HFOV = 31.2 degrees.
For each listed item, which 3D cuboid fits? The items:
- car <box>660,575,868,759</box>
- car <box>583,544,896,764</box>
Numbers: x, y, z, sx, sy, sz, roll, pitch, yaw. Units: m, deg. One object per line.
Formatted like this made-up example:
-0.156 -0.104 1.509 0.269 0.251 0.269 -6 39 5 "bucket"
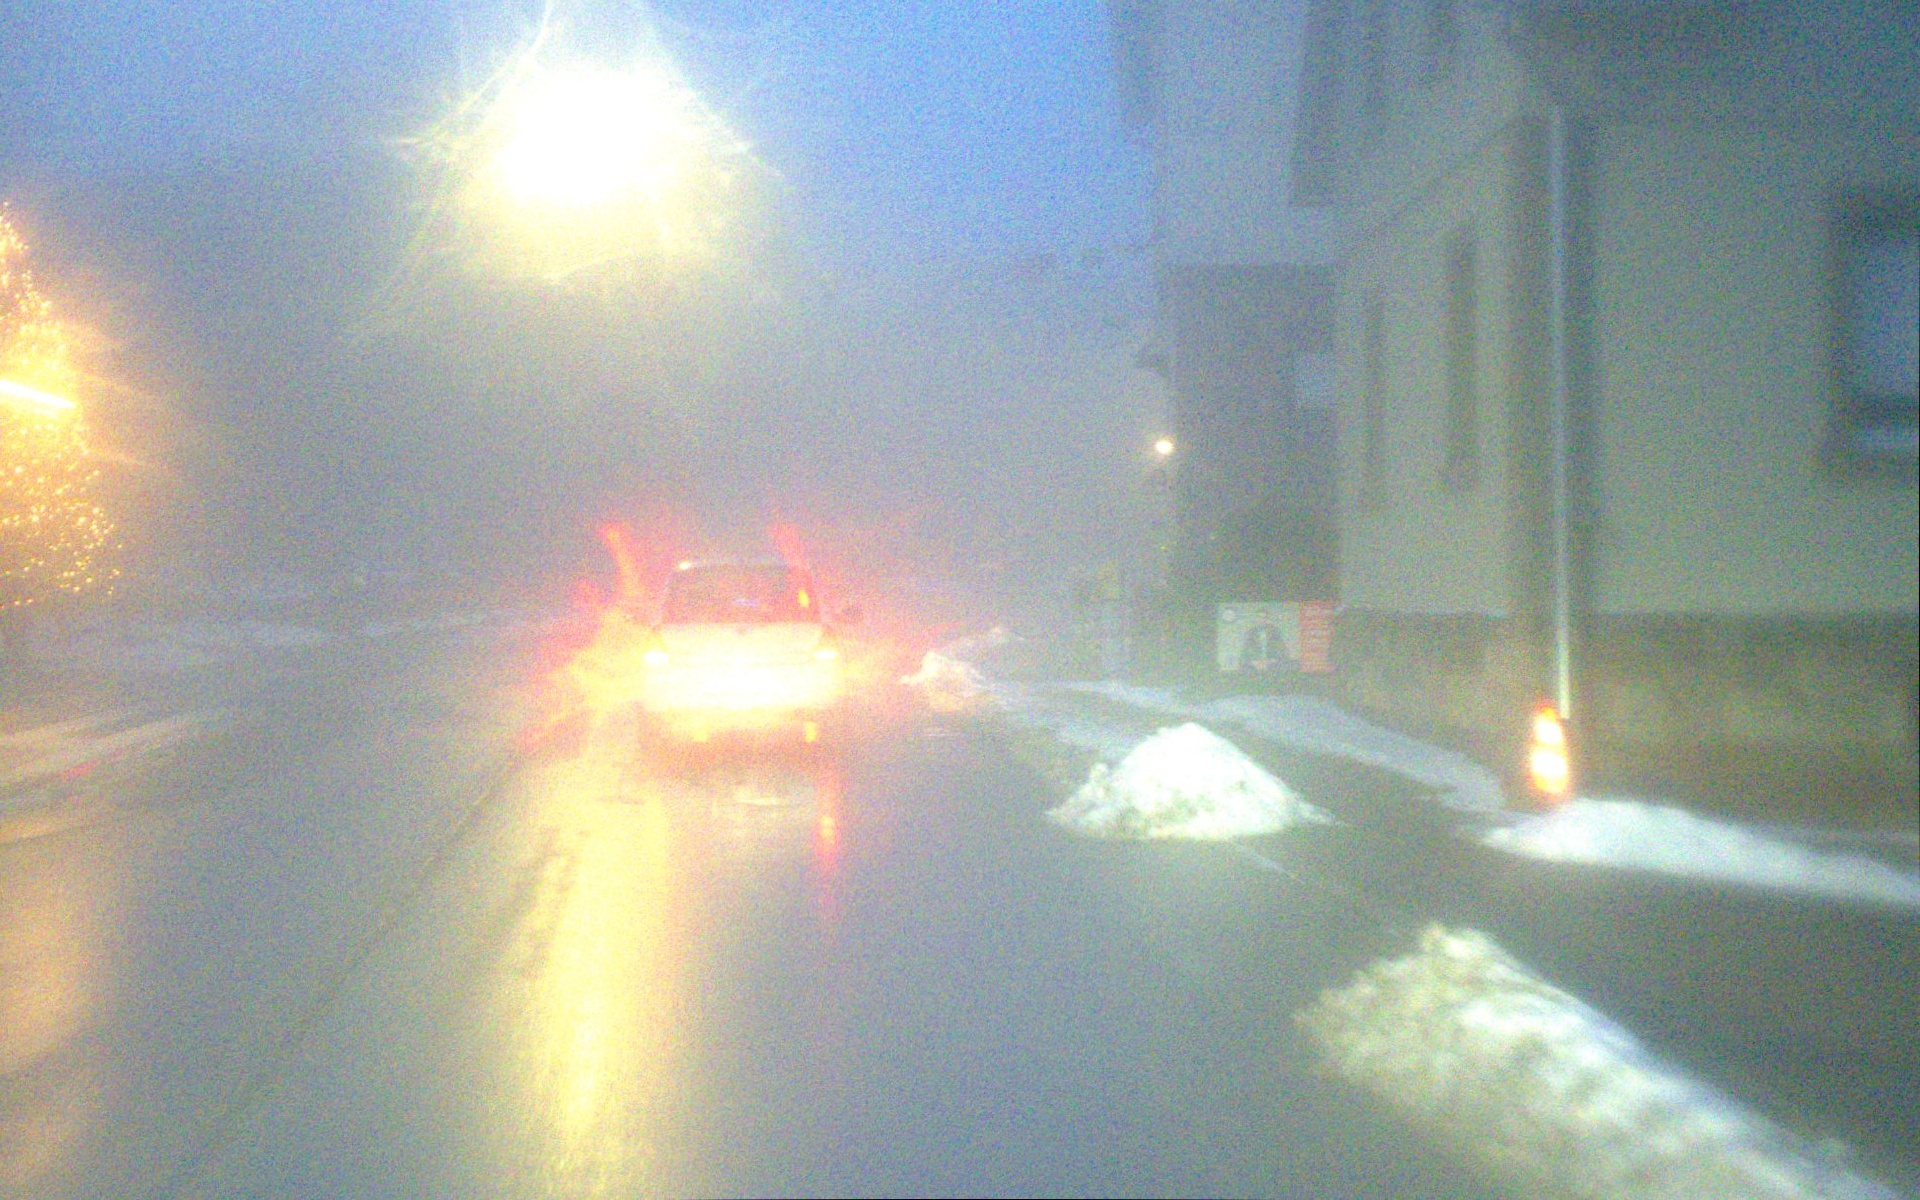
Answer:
-2.308 0.835 41.557 1.994 2.007 3.999 3 -2 3 "car"
-1.647 0.462 27.104 1.994 1.503 3.999 3 -2 2 "car"
